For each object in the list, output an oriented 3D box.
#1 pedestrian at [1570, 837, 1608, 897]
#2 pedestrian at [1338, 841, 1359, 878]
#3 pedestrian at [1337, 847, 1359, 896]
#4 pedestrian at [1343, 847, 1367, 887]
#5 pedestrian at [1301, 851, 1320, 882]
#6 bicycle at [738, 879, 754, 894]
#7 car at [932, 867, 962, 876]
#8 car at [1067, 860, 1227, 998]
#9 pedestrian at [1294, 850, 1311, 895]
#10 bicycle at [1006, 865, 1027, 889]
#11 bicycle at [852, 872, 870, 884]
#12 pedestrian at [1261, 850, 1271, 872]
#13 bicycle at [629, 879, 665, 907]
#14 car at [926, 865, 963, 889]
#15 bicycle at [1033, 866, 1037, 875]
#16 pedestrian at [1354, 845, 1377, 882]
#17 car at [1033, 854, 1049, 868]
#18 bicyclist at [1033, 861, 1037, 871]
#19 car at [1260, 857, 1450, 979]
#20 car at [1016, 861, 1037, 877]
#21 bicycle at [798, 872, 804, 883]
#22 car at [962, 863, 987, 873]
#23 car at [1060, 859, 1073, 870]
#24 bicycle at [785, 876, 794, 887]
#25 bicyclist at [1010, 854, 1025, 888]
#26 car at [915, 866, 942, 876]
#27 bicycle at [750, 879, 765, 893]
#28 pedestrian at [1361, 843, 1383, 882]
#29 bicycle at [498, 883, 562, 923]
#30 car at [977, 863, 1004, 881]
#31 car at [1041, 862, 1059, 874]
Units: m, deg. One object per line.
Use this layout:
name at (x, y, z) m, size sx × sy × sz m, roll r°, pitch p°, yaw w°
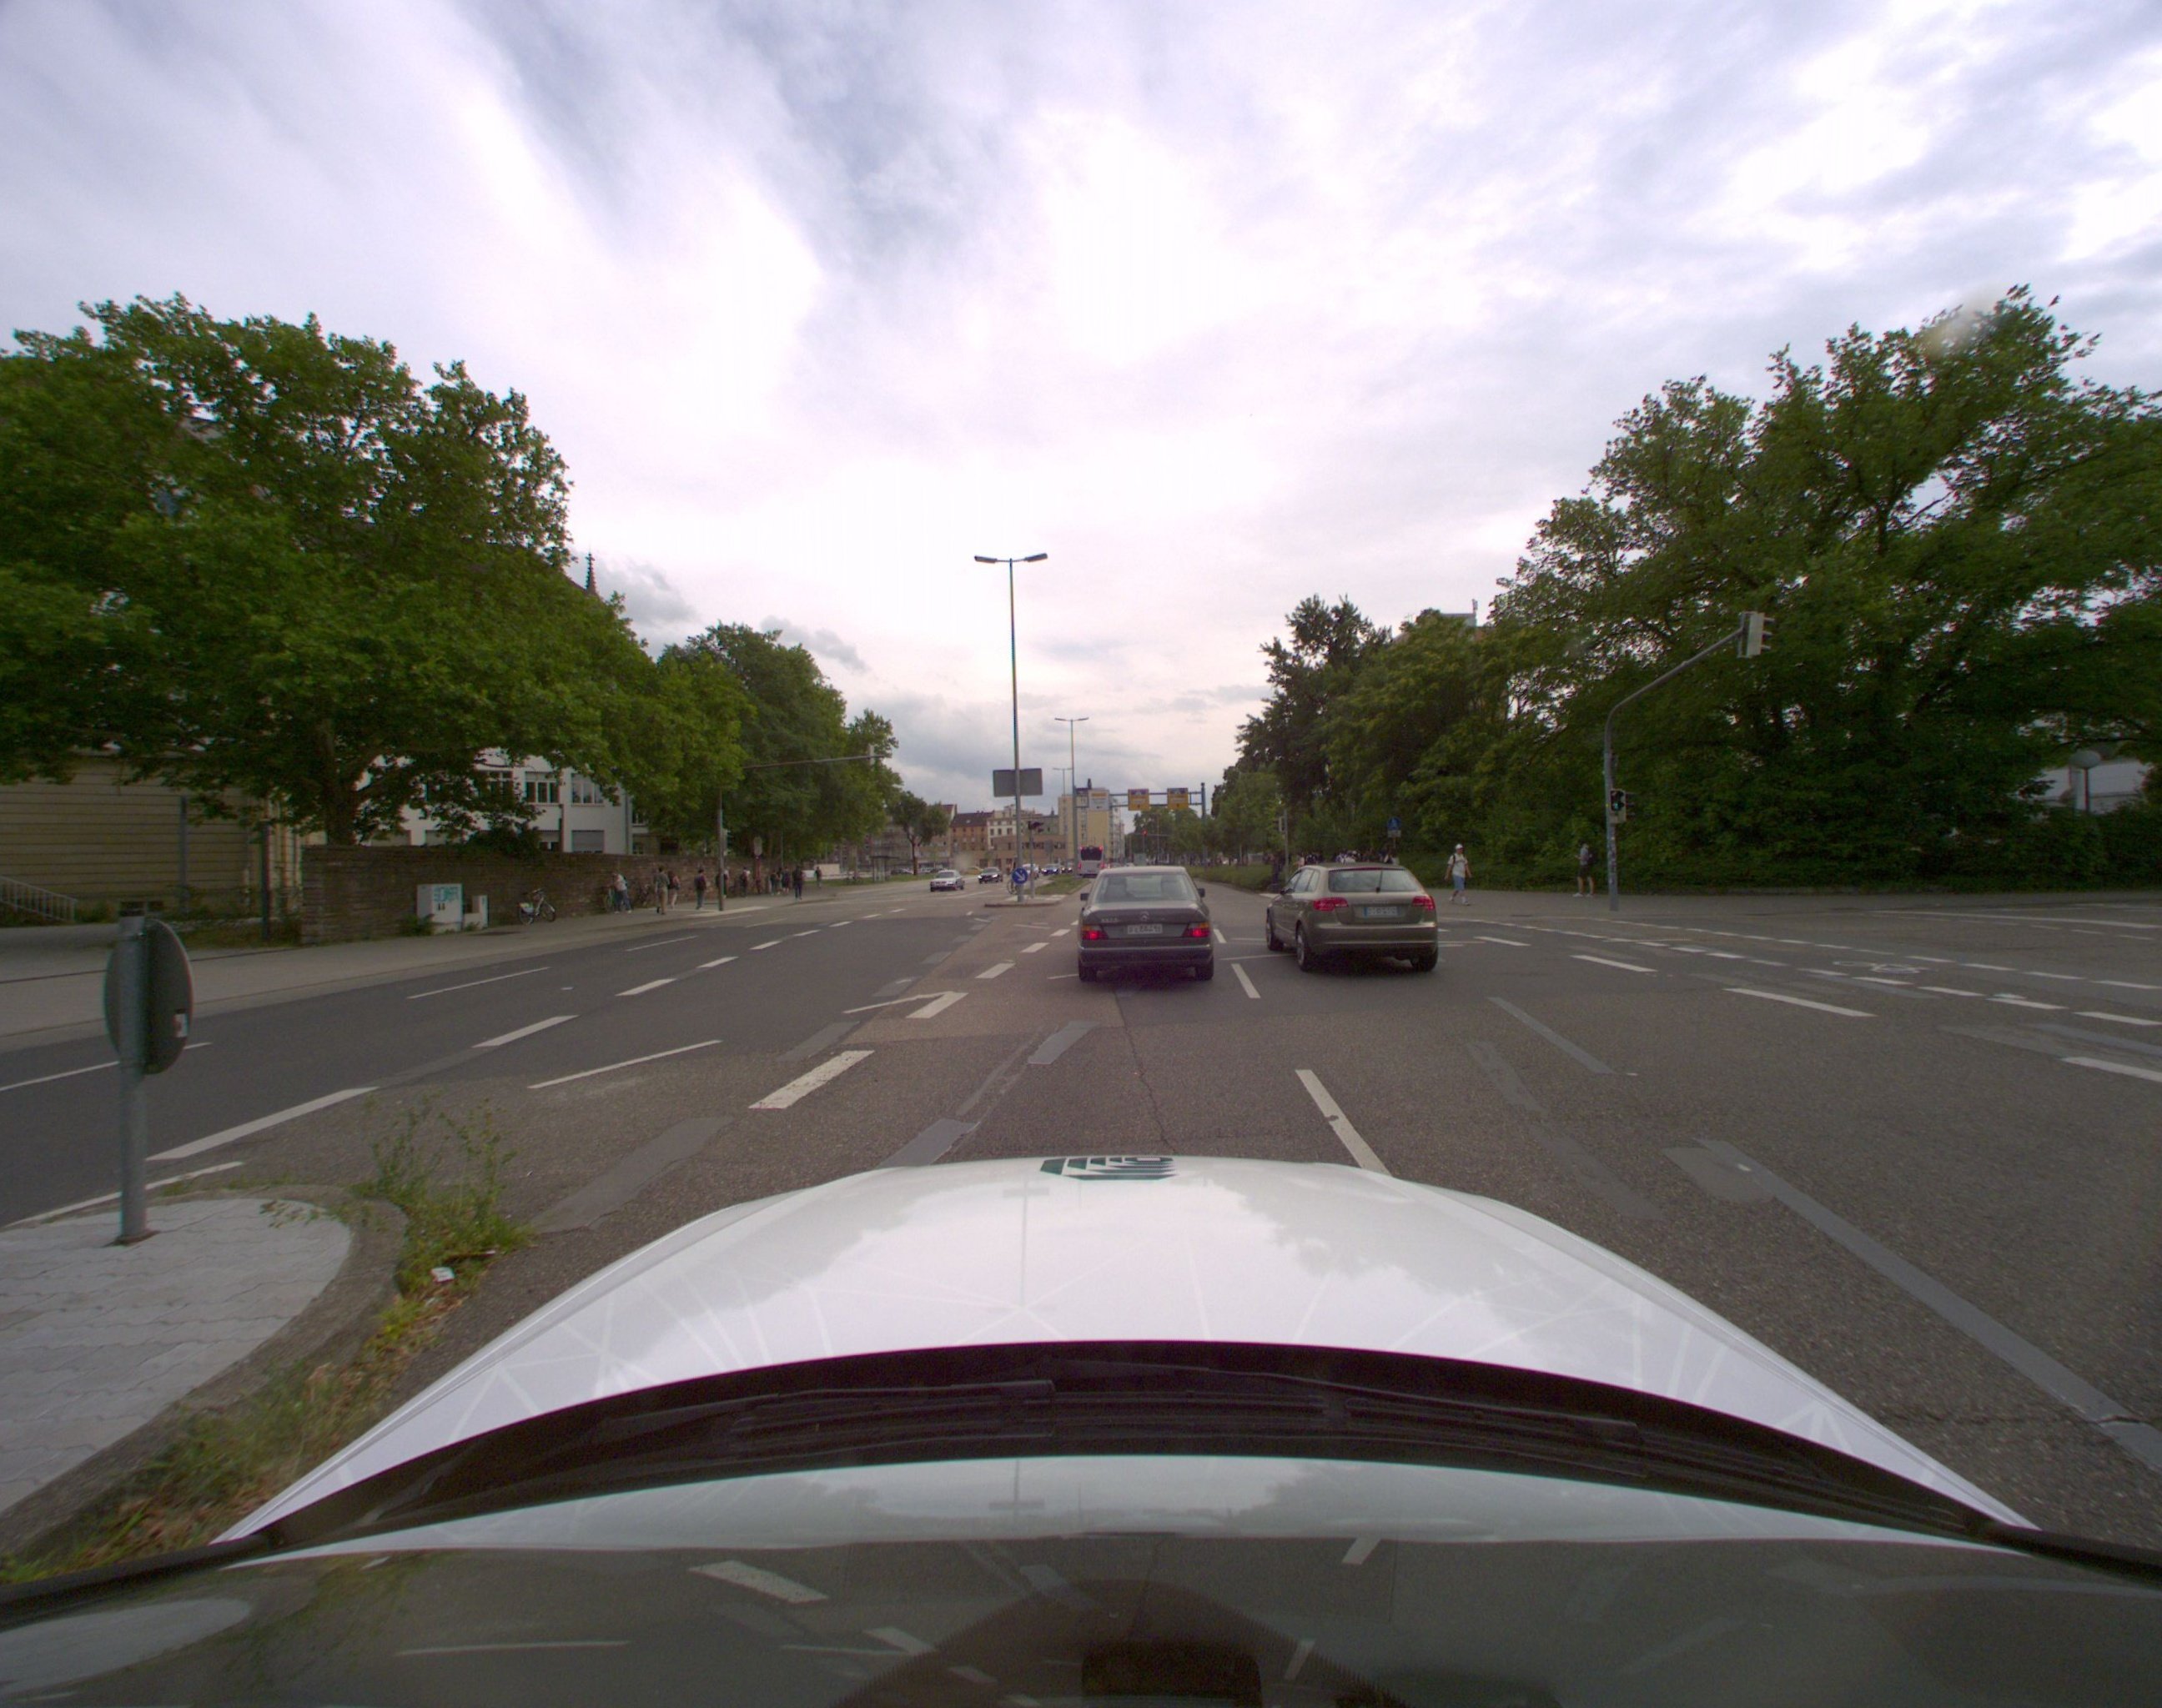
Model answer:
pedestrian at (15.533, 0.391, 24.918) m, size 0.642 × 1.795 × 0.740 m, roll -2°, pitch -1°, yaw 0°
pedestrian at (12.554, 0.271, 38.185) m, size 0.654 × 1.689 × 0.842 m, roll -2°, pitch -1°, yaw 1°
pedestrian at (9.427, 0.606, 28.761) m, size 0.544 × 1.687 × 0.637 m, roll -2°, pitch -1°, yaw 0°
pedestrian at (12.298, 0.583, 36.571) m, size 0.654 × 1.766 × 0.958 m, roll -3°, pitch -1°, yaw 1°
pedestrian at (11.915, 0.652, 42.323) m, size 0.772 × 1.602 × 0.813 m, roll -2°, pitch -1°, yaw 3°
bicycle at (-19.548, 1.912, 47.564) m, size 0.440 × 0.797 × 1.617 m, roll 1°, pitch 0°, yaw -6°
car at (-21.855, 2.833, 132.718) m, size 4.657 × 1.475 × 1.659 m, roll 0°, pitch -1°, yaw -3°
car at (0.819, 0.860, 11.233) m, size 1.754 × 1.489 × 4.173 m, roll -2°, pitch 0°, yaw 2°
pedestrian at (8.725, 0.731, 32.089) m, size 0.452 × 1.735 × 0.637 m, roll -2°, pitch -1°, yaw 0°
bicycle at (-3.066, 1.088, 38.742) m, size 0.570 × 1.055 × 1.930 m, roll -2°, pitch 0°, yaw 7°
bicycle at (-19.090, 2.081, 70.688) m, size 0.467 × 0.919 × 2.346 m, roll -2°, pitch -1°, yaw 10°
pedestrian at (14.275, 0.532, 62.842) m, size 0.585 × 1.683 × 0.749 m, roll -2°, pitch -1°, yaw 3°
bicycle at (-18.022, 1.596, 33.860) m, size 0.547 × 1.058 × 1.978 m, roll 1°, pitch 0°, yaw -4°
car at (-9.371, 1.554, 56.271) m, size 1.755 × 1.489 × 4.545 m, roll -2°, pitch 0°, yaw 0°
bicycle at (-6.580, 2.335, 116.600) m, size 0.580 × 1.170 × 1.963 m, roll -2°, pitch 0°, yaw -1°
pedestrian at (13.315, 0.450, 38.131) m, size 0.654 × 1.667 × 0.971 m, roll -2°, pitch -1°, yaw 1°
car at (-5.745, 1.033, 118.304) m, size 1.934 × 2.014 × 4.001 m, roll -2°, pitch -1°, yaw 2°
bicyclist at (-6.611, 1.768, 116.569) m, size 0.578 × 1.419 × 0.811 m, roll -2°, pitch -1°, yaw -1°
car at (3.776, 0.796, 11.883) m, size 1.716 × 1.457 × 3.740 m, roll -2°, pitch 0°, yaw 4°
car at (-5.287, 1.473, 79.815) m, size 1.796 × 1.489 × 4.286 m, roll -2°, pitch 0°, yaw -1°
bicycle at (-23.442, 1.971, 68.198) m, size 0.347 × 0.878 × 1.514 m, roll 1°, pitch -1°, yaw -14°
car at (-17.396, 2.260, 132.977) m, size 3.847 × 1.517 × 1.659 m, roll 0°, pitch -1°, yaw -3°
car at (-2.148, 1.571, 120.309) m, size 1.565 × 1.489 × 3.640 m, roll -4°, pitch -1°, yaw 4°
bicycle at (-21.477, 2.033, 60.040) m, size 0.441 × 0.827 × 1.612 m, roll 1°, pitch -1°, yaw -14°
bicyclist at (-3.017, 0.811, 38.667) m, size 0.569 × 1.574 × 0.700 m, roll -2°, pitch -1°, yaw 7°
car at (-25.596, 2.842, 136.727) m, size 4.145 × 1.649 × 1.645 m, roll -2°, pitch -1°, yaw -4°
bicycle at (-19.788, 1.931, 49.812) m, size 0.440 × 0.797 × 1.617 m, roll 1°, pitch 0°, yaw -6°
pedestrian at (13.032, 0.377, 36.495) m, size 0.654 × 1.699 × 0.780 m, roll -2°, pitch -1°, yaw 1°
bicycle at (-17.326, 1.522, 25.666) m, size 0.576 × 1.126 × 2.163 m, roll 1°, pitch 0°, yaw -2°
car at (-8.620, 1.660, 77.850) m, size 1.890 × 1.616 × 4.744 m, roll -2°, pitch 0°, yaw 1°
car at (-3.860, 1.726, 101.641) m, size 1.795 × 1.511 × 4.106 m, roll -2°, pitch -1°, yaw 2°
